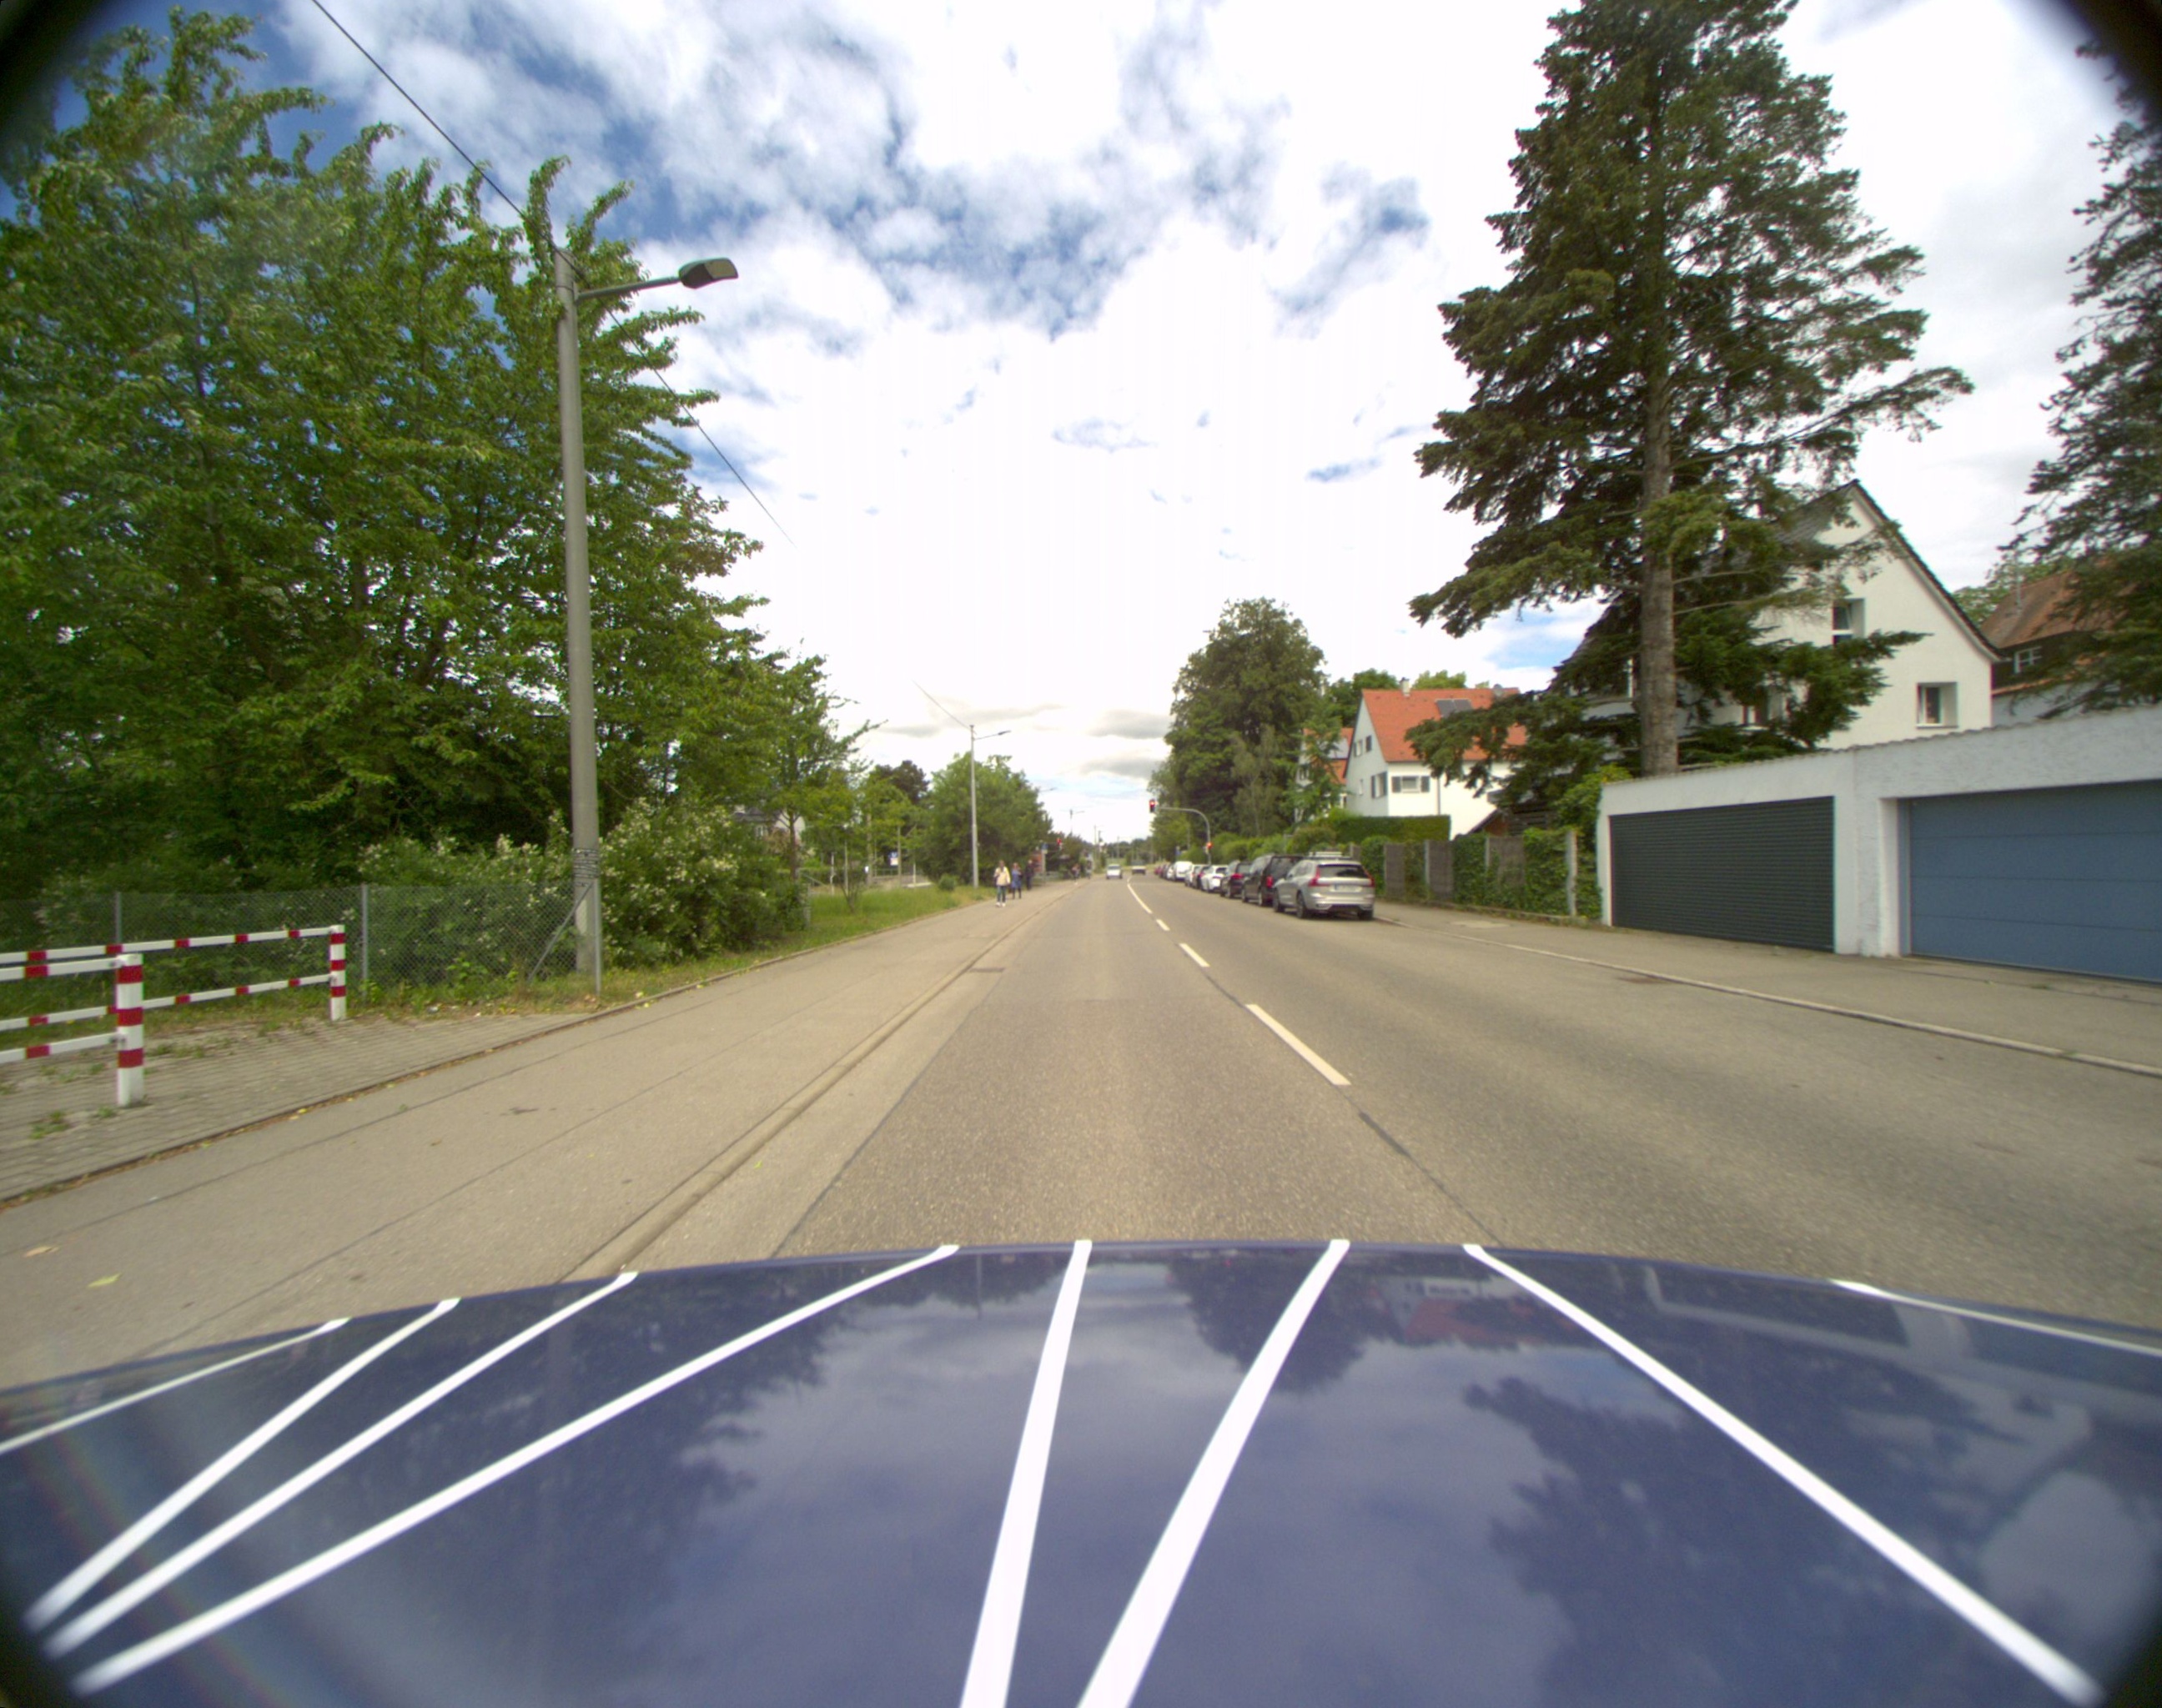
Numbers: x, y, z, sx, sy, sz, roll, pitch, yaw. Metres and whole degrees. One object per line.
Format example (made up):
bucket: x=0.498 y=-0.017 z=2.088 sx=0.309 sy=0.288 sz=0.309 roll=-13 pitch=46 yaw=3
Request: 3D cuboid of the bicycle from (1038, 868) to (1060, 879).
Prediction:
bicycle: x=-3.138 y=1.918 z=74.464 sx=2.092 sy=1.074 sz=0.547 roll=0 pitch=0 yaw=6

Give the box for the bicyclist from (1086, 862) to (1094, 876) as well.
bicyclist: x=0.953 y=1.625 z=83.822 sx=0.826 sy=1.529 sz=0.862 roll=-2 pitch=0 yaw=1

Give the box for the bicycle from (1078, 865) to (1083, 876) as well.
bicycle: x=-0.042 y=1.815 z=82.869 sx=0.451 sy=1.142 sz=2.208 roll=-1 pitch=0 yaw=1

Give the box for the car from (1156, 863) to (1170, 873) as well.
car: x=12.473 y=2.077 z=115.454 sx=1.971 sy=1.394 sz=4.067 roll=-1 pitch=-1 yaw=5

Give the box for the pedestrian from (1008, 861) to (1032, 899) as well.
pedestrian: x=-2.736 y=1.149 z=34.179 sx=0.841 sy=1.649 sz=0.766 roll=-2 pitch=0 yaw=7

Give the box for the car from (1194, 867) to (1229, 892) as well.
car: x=7.894 y=1.514 z=46.248 sx=1.746 sy=1.402 sz=4.325 roll=0 pitch=-1 yaw=4

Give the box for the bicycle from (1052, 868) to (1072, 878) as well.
bicycle: x=-2.072 y=2.088 z=82.894 sx=2.206 sy=1.041 sz=0.451 roll=-1 pitch=0 yaw=2

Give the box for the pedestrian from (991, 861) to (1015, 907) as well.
pedestrian: x=-2.869 y=1.095 z=27.926 sx=0.687 sy=1.649 sz=0.690 roll=-2 pitch=0 yaw=7

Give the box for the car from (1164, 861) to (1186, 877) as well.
car: x=9.610 y=1.558 z=78.023 sx=1.901 sy=1.584 sz=4.645 roll=-1 pitch=-1 yaw=2

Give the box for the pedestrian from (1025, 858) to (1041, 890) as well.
pedestrian: x=-2.896 y=1.190 z=45.751 sx=0.746 sy=1.871 sz=0.802 roll=-2 pitch=0 yaw=9

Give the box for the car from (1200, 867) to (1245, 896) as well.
car: x=7.519 y=1.426 z=40.759 sx=1.809 sy=1.450 sz=5.071 roll=1 pitch=-1 yaw=4

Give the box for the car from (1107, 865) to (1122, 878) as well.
car: x=3.767 y=1.947 z=84.949 sx=1.665 sy=1.394 sz=3.901 roll=-1 pitch=-1 yaw=3

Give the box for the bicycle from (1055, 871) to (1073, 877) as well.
bicycle: x=-1.887 y=2.265 z=85.202 sx=1.987 sy=0.635 sz=0.332 roll=-2 pitch=0 yaw=-7

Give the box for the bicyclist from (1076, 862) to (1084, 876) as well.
bicyclist: x=-0.065 y=1.615 z=82.756 sx=0.826 sy=1.529 sz=0.862 roll=-1 pitch=0 yaw=3

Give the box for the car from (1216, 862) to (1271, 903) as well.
car: x=7.206 y=1.216 z=34.090 sx=1.630 sy=1.668 sz=4.585 roll=1 pitch=-1 yaw=2

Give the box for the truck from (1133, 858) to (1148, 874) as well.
truck: x=9.137 y=1.876 z=116.345 sx=2.194 sy=2.357 sz=6.907 roll=0 pitch=-1 yaw=4

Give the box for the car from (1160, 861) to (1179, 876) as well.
car: x=10.314 y=1.679 z=88.686 sx=1.794 sy=1.601 sz=4.418 roll=-1 pitch=-1 yaw=1

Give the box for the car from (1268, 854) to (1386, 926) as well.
car: x=6.892 y=0.961 z=21.865 sx=1.989 sy=1.808 sz=4.709 roll=-1 pitch=-1 yaw=2

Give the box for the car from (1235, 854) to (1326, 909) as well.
car: x=7.212 y=0.944 z=27.987 sx=2.072 sy=1.744 sz=4.884 roll=-2 pitch=0 yaw=1

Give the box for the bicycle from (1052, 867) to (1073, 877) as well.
bicycle: x=-2.080 y=1.999 z=84.350 sx=2.204 sy=1.142 sz=0.452 roll=-1 pitch=0 yaw=9

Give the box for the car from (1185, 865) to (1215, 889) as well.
car: x=8.099 y=1.538 z=51.892 sx=1.706 sy=1.534 sz=3.744 roll=1 pitch=-1 yaw=4

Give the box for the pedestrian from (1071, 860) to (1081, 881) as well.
pedestrian: x=-0.376 y=1.350 z=61.442 sx=0.649 sy=1.654 sz=0.708 roll=-2 pitch=0 yaw=8

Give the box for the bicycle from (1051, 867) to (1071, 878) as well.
bicycle: x=-2.145 y=1.991 z=81.902 sx=2.093 sy=1.144 sz=0.530 roll=-2 pitch=0 yaw=1

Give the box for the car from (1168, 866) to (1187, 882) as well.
car: x=9.150 y=1.850 z=72.260 sx=1.708 sy=1.444 sz=4.360 roll=2 pitch=0 yaw=7

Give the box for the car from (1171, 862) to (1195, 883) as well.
car: x=8.994 y=1.633 z=67.033 sx=1.680 sy=1.748 sz=4.609 roll=1 pitch=-1 yaw=3

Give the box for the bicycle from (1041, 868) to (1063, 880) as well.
bicycle: x=-2.919 y=1.994 z=75.860 sx=2.093 sy=1.041 sz=0.559 roll=-4 pitch=0 yaw=6

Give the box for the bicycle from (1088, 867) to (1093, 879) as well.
bicycle: x=1.063 y=2.128 z=83.721 sx=0.451 sy=1.278 sz=2.208 roll=-2 pitch=0 yaw=-1
